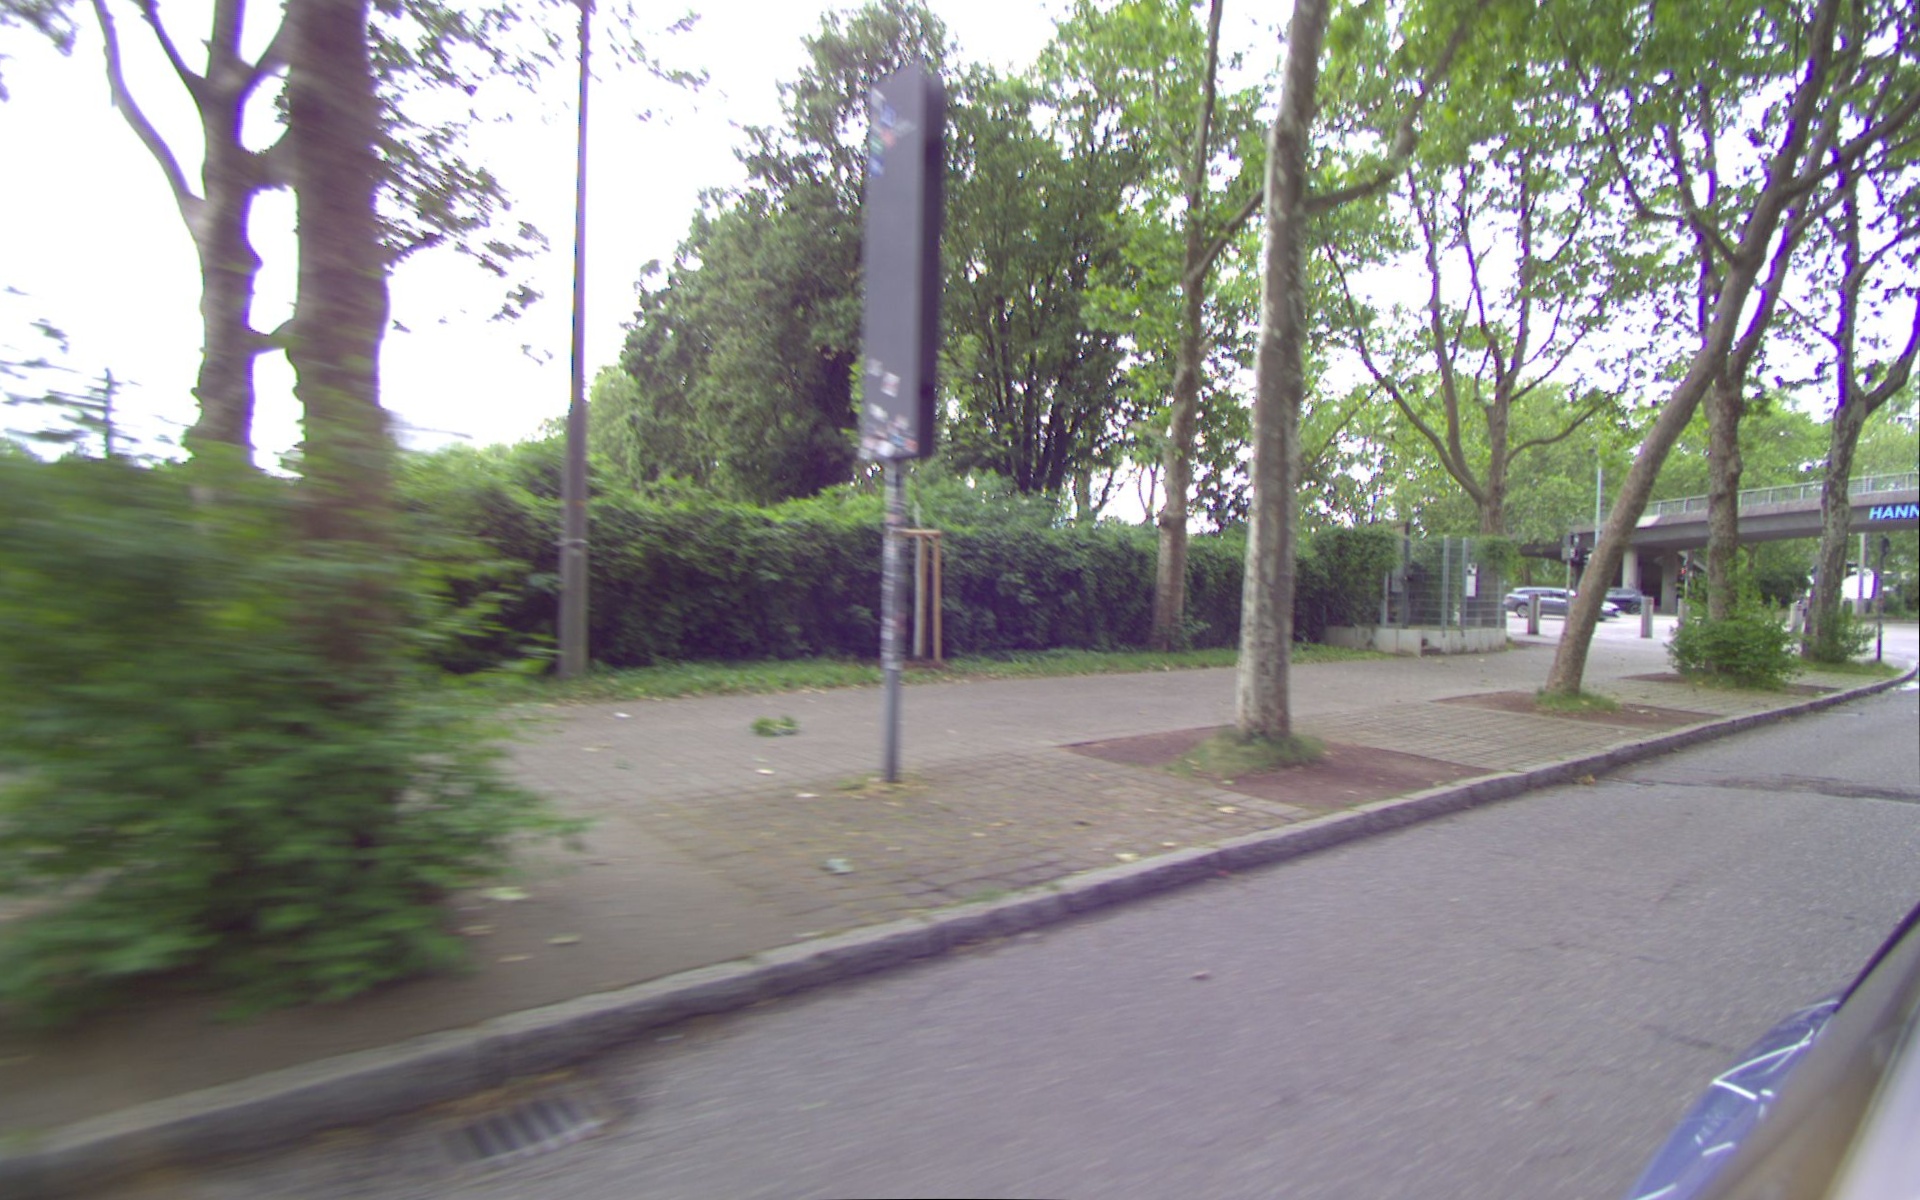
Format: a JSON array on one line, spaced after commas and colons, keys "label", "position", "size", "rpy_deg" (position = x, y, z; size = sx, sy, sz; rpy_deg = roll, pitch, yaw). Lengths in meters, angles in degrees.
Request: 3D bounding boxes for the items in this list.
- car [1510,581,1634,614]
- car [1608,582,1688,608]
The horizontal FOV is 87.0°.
[{"label": "car", "position": [28.943, -0.141, 47.998], "size": [1.852, 1.464, 4.684], "rpy_deg": [0, 1, -37]}, {"label": "car", "position": [40.298, -0.330, 59.368], "size": [3.683, 1.337, 1.747], "rpy_deg": [2, 4, 28]}]
